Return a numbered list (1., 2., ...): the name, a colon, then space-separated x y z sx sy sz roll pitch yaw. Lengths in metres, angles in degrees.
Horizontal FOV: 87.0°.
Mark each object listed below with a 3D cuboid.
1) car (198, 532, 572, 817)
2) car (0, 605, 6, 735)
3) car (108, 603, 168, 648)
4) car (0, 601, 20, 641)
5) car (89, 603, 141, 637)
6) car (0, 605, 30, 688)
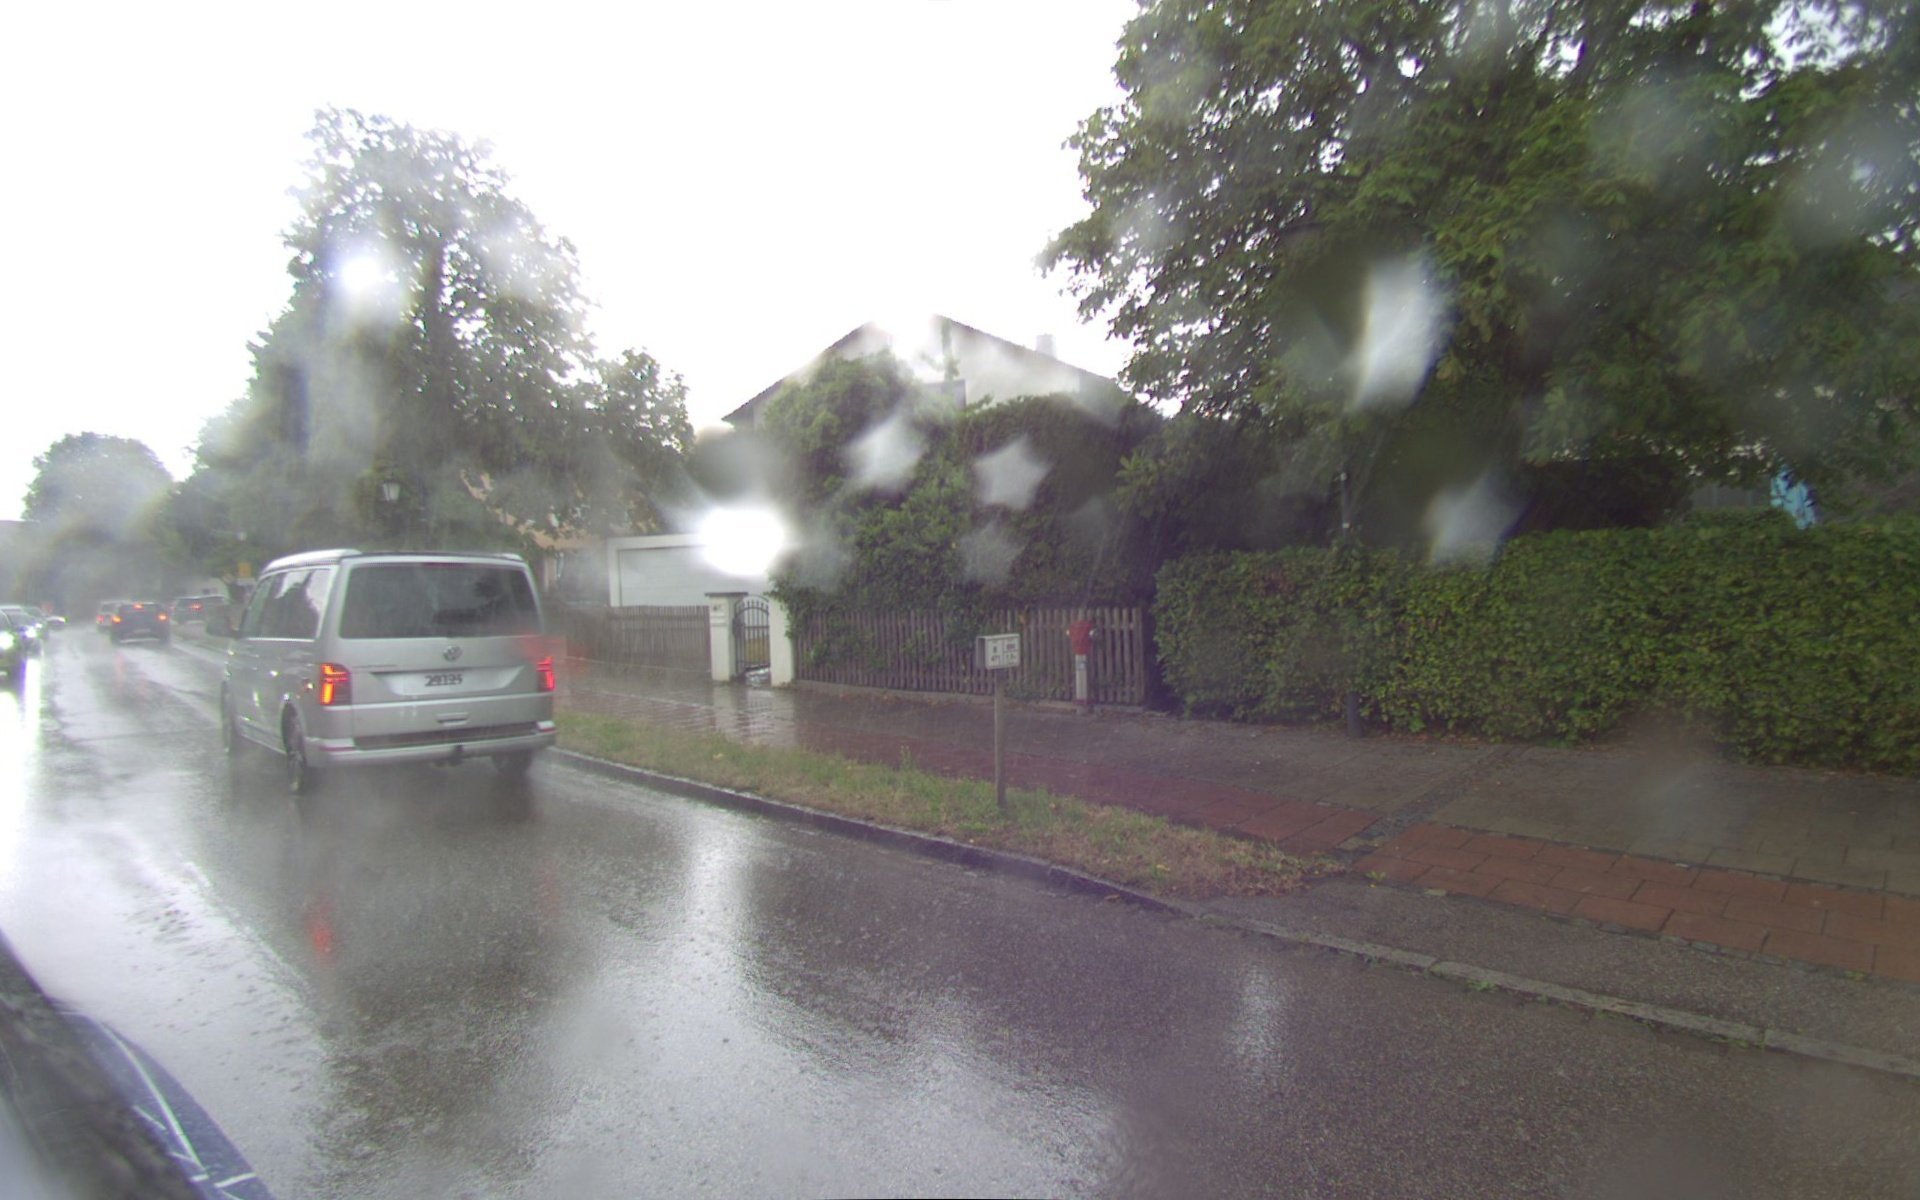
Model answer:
1. car: -5.511 0.541 9.378 4.704 1.986 1.829 -1 -1 45
2. car: -11.856 0.845 11.124 1.845 1.532 4.193 -2 1 -42
3. car: -31.269 0.937 38.461 1.567 1.622 3.543 0 -1 -42
4. car: -38.957 0.843 40.472 1.845 1.532 4.967 -4 3 -42
5. car: -43.737 1.007 52.356 1.733 1.690 4.002 1 -1 -45
6. car: -21.765 1.009 22.212 1.845 1.624 4.967 -4 3 -42
